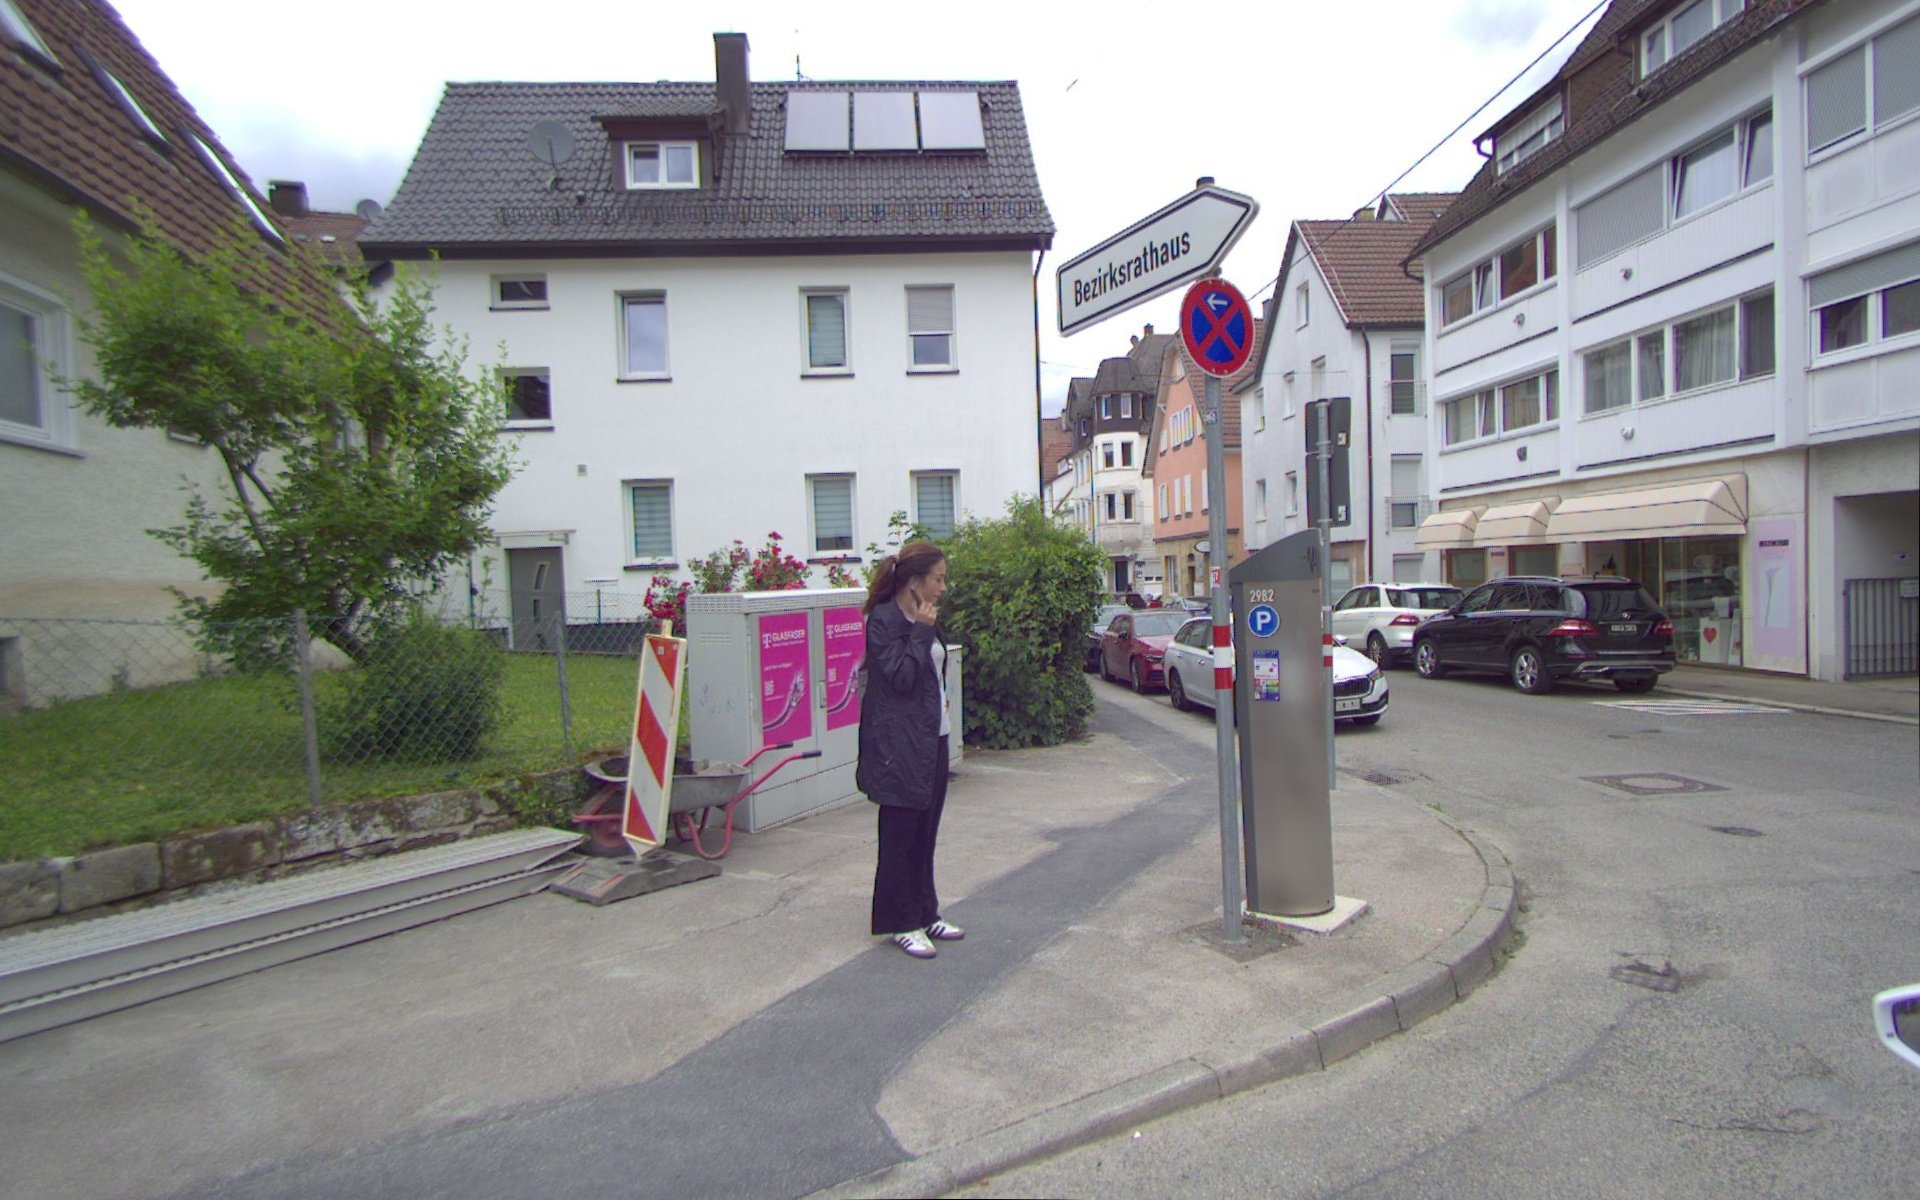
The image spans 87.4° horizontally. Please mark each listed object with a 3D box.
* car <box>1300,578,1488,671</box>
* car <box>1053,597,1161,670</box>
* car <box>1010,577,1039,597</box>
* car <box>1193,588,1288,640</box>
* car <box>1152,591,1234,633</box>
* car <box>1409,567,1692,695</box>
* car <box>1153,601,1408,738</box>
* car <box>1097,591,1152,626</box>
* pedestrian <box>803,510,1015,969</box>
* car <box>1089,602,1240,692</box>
[{"bbox_3d":[9.146,0.449,21.624,1.903,1.735,4.373,-1,1,-4],"label":"car"},{"bbox_3d":[3.492,0.749,24.571,1.740,1.515,3.980,-4,0,-3],"label":"car"},{"bbox_3d":[5.308,-1.084,82.976,1.701,1.596,3.828,-1,2,-7],"label":"car"},{"bbox_3d":[8.747,0.411,31.627,1.746,1.495,3.780,-2,0,-3],"label":"car"},{"bbox_3d":[8.394,0.415,36.522,1.721,1.409,4.028,-1,0,-5],"label":"car"},{"bbox_3d":[9.428,0.460,16.551,1.910,1.803,4.367,0,0,-4],"label":"car"},{"bbox_3d":[4.189,0.819,13.956,1.765,1.480,4.292,-4,0,-6],"label":"car"},{"bbox_3d":[7.686,0.358,47.308,1.685,1.570,3.799,0,1,-5],"label":"car"},{"bbox_3d":[-0.210,0.520,4.174,0.639,1.707,0.601,1,0,40],"label":"pedestrian"},{"bbox_3d":[3.787,0.810,19.342,1.740,1.436,4.169,-4,0,-4],"label":"car"}]
